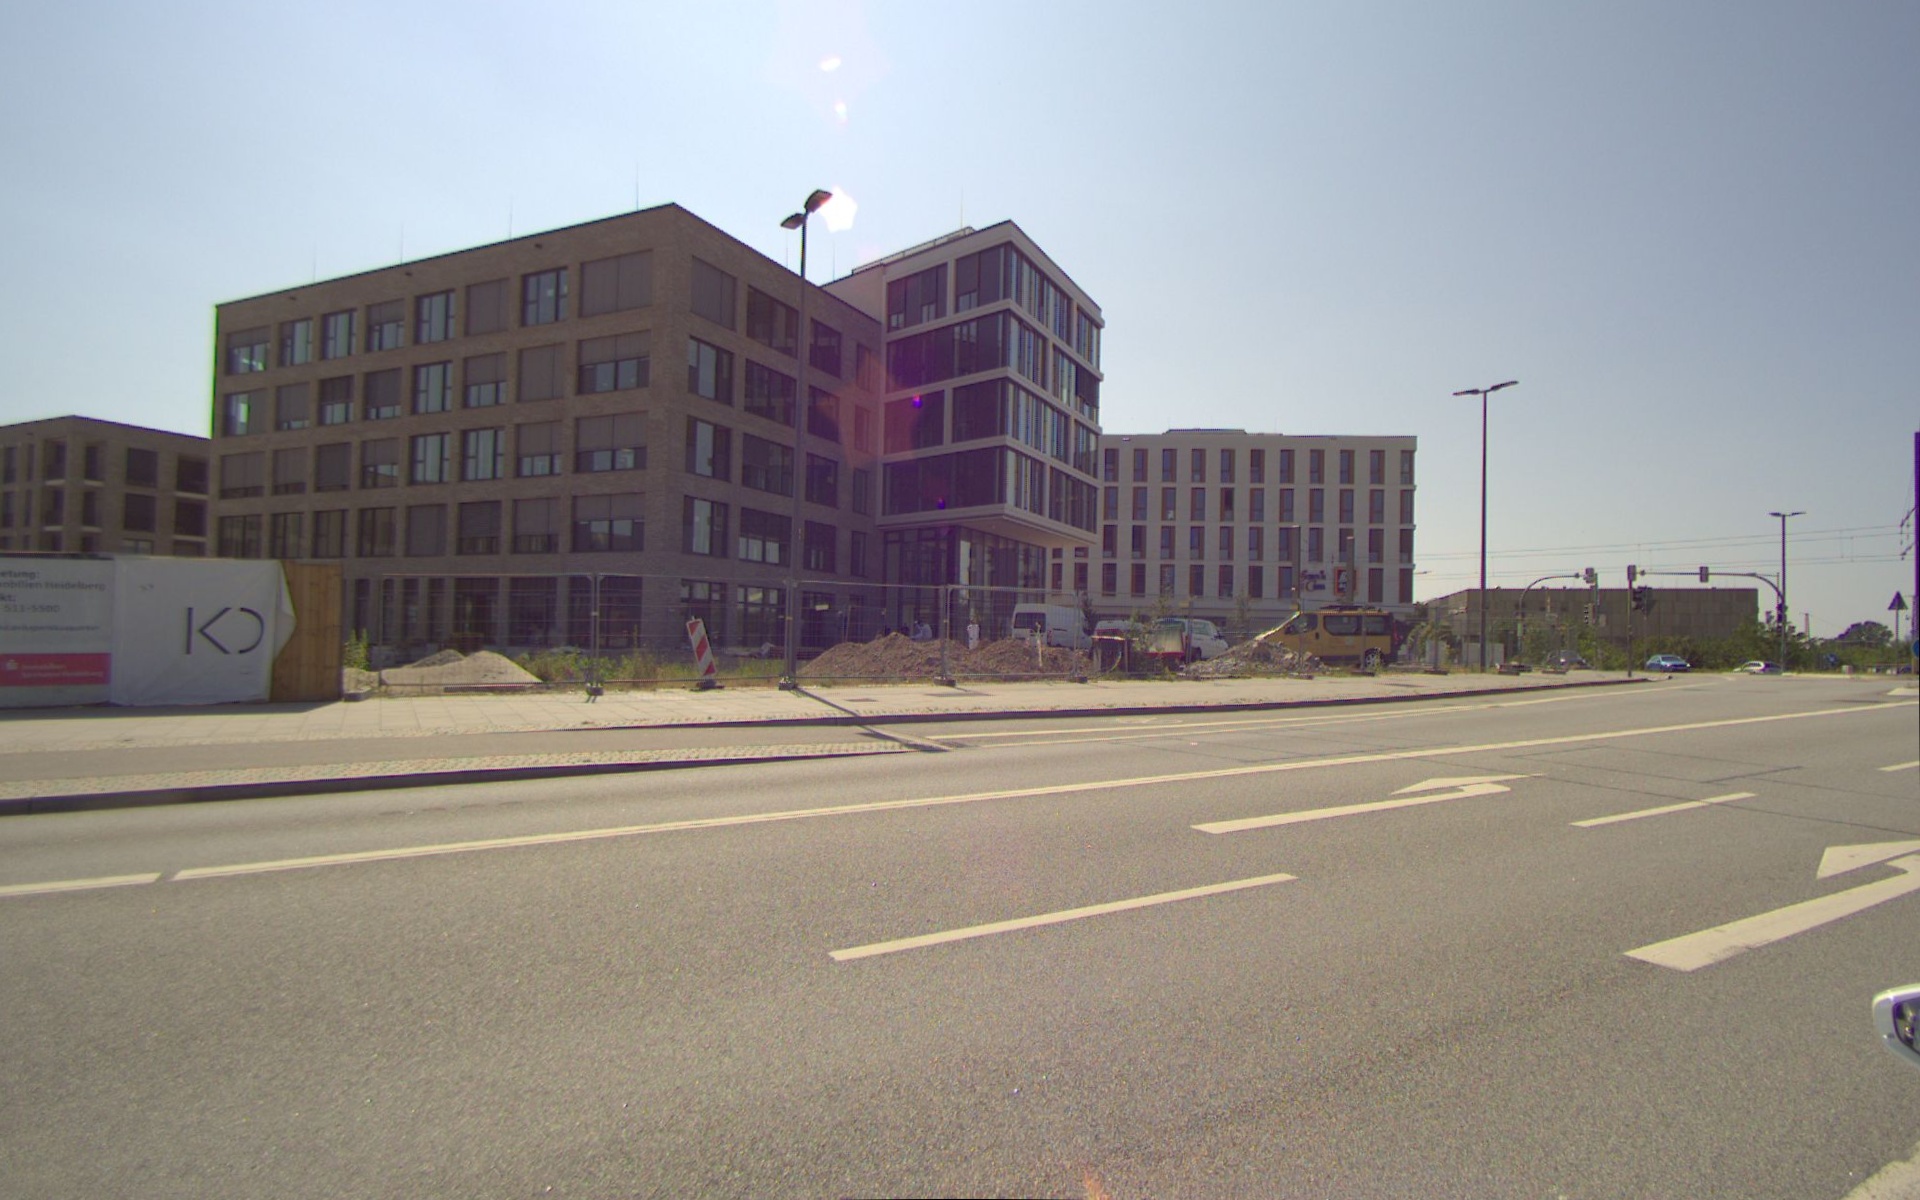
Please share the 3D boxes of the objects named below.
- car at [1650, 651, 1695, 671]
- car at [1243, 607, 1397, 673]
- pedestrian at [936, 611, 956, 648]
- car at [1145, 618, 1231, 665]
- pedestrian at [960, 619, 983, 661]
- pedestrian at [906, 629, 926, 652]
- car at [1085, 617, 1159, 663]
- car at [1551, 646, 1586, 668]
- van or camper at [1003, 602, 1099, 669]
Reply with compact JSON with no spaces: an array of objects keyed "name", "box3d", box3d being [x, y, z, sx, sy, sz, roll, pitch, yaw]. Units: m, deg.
[{"name":"car","box3d":[53.507,4.562,75.491,1.787,1.348,4.000,2,-2,20]},{"name":"car","box3d":[11.982,1.295,33.757,4.533,1.988,1.991,2,0,9]},{"name":"pedestrian","box3d":[-0.685,1.439,49.069,0.734,1.741,0.699,2,0,16]},{"name":"car","box3d":[9.616,1.691,42.117,1.841,1.797,4.637,2,0,36]},{"name":"pedestrian","box3d":[0.486,1.686,42.425,0.734,1.741,0.699,2,0,16]},{"name":"pedestrian","box3d":[-2.060,1.920,47.509,0.734,1.041,0.699,2,0,16]},{"name":"car","box3d":[7.091,1.698,43.683,1.759,1.881,3.842,2,0,32]},{"name":"car","box3d":[44.306,4.137,73.154,1.646,1.496,3.405,0,-1,22]},{"name":"van or camper","box3d":[4.159,1.557,45.137,2.273,2.772,4.975,2,0,32]}]
